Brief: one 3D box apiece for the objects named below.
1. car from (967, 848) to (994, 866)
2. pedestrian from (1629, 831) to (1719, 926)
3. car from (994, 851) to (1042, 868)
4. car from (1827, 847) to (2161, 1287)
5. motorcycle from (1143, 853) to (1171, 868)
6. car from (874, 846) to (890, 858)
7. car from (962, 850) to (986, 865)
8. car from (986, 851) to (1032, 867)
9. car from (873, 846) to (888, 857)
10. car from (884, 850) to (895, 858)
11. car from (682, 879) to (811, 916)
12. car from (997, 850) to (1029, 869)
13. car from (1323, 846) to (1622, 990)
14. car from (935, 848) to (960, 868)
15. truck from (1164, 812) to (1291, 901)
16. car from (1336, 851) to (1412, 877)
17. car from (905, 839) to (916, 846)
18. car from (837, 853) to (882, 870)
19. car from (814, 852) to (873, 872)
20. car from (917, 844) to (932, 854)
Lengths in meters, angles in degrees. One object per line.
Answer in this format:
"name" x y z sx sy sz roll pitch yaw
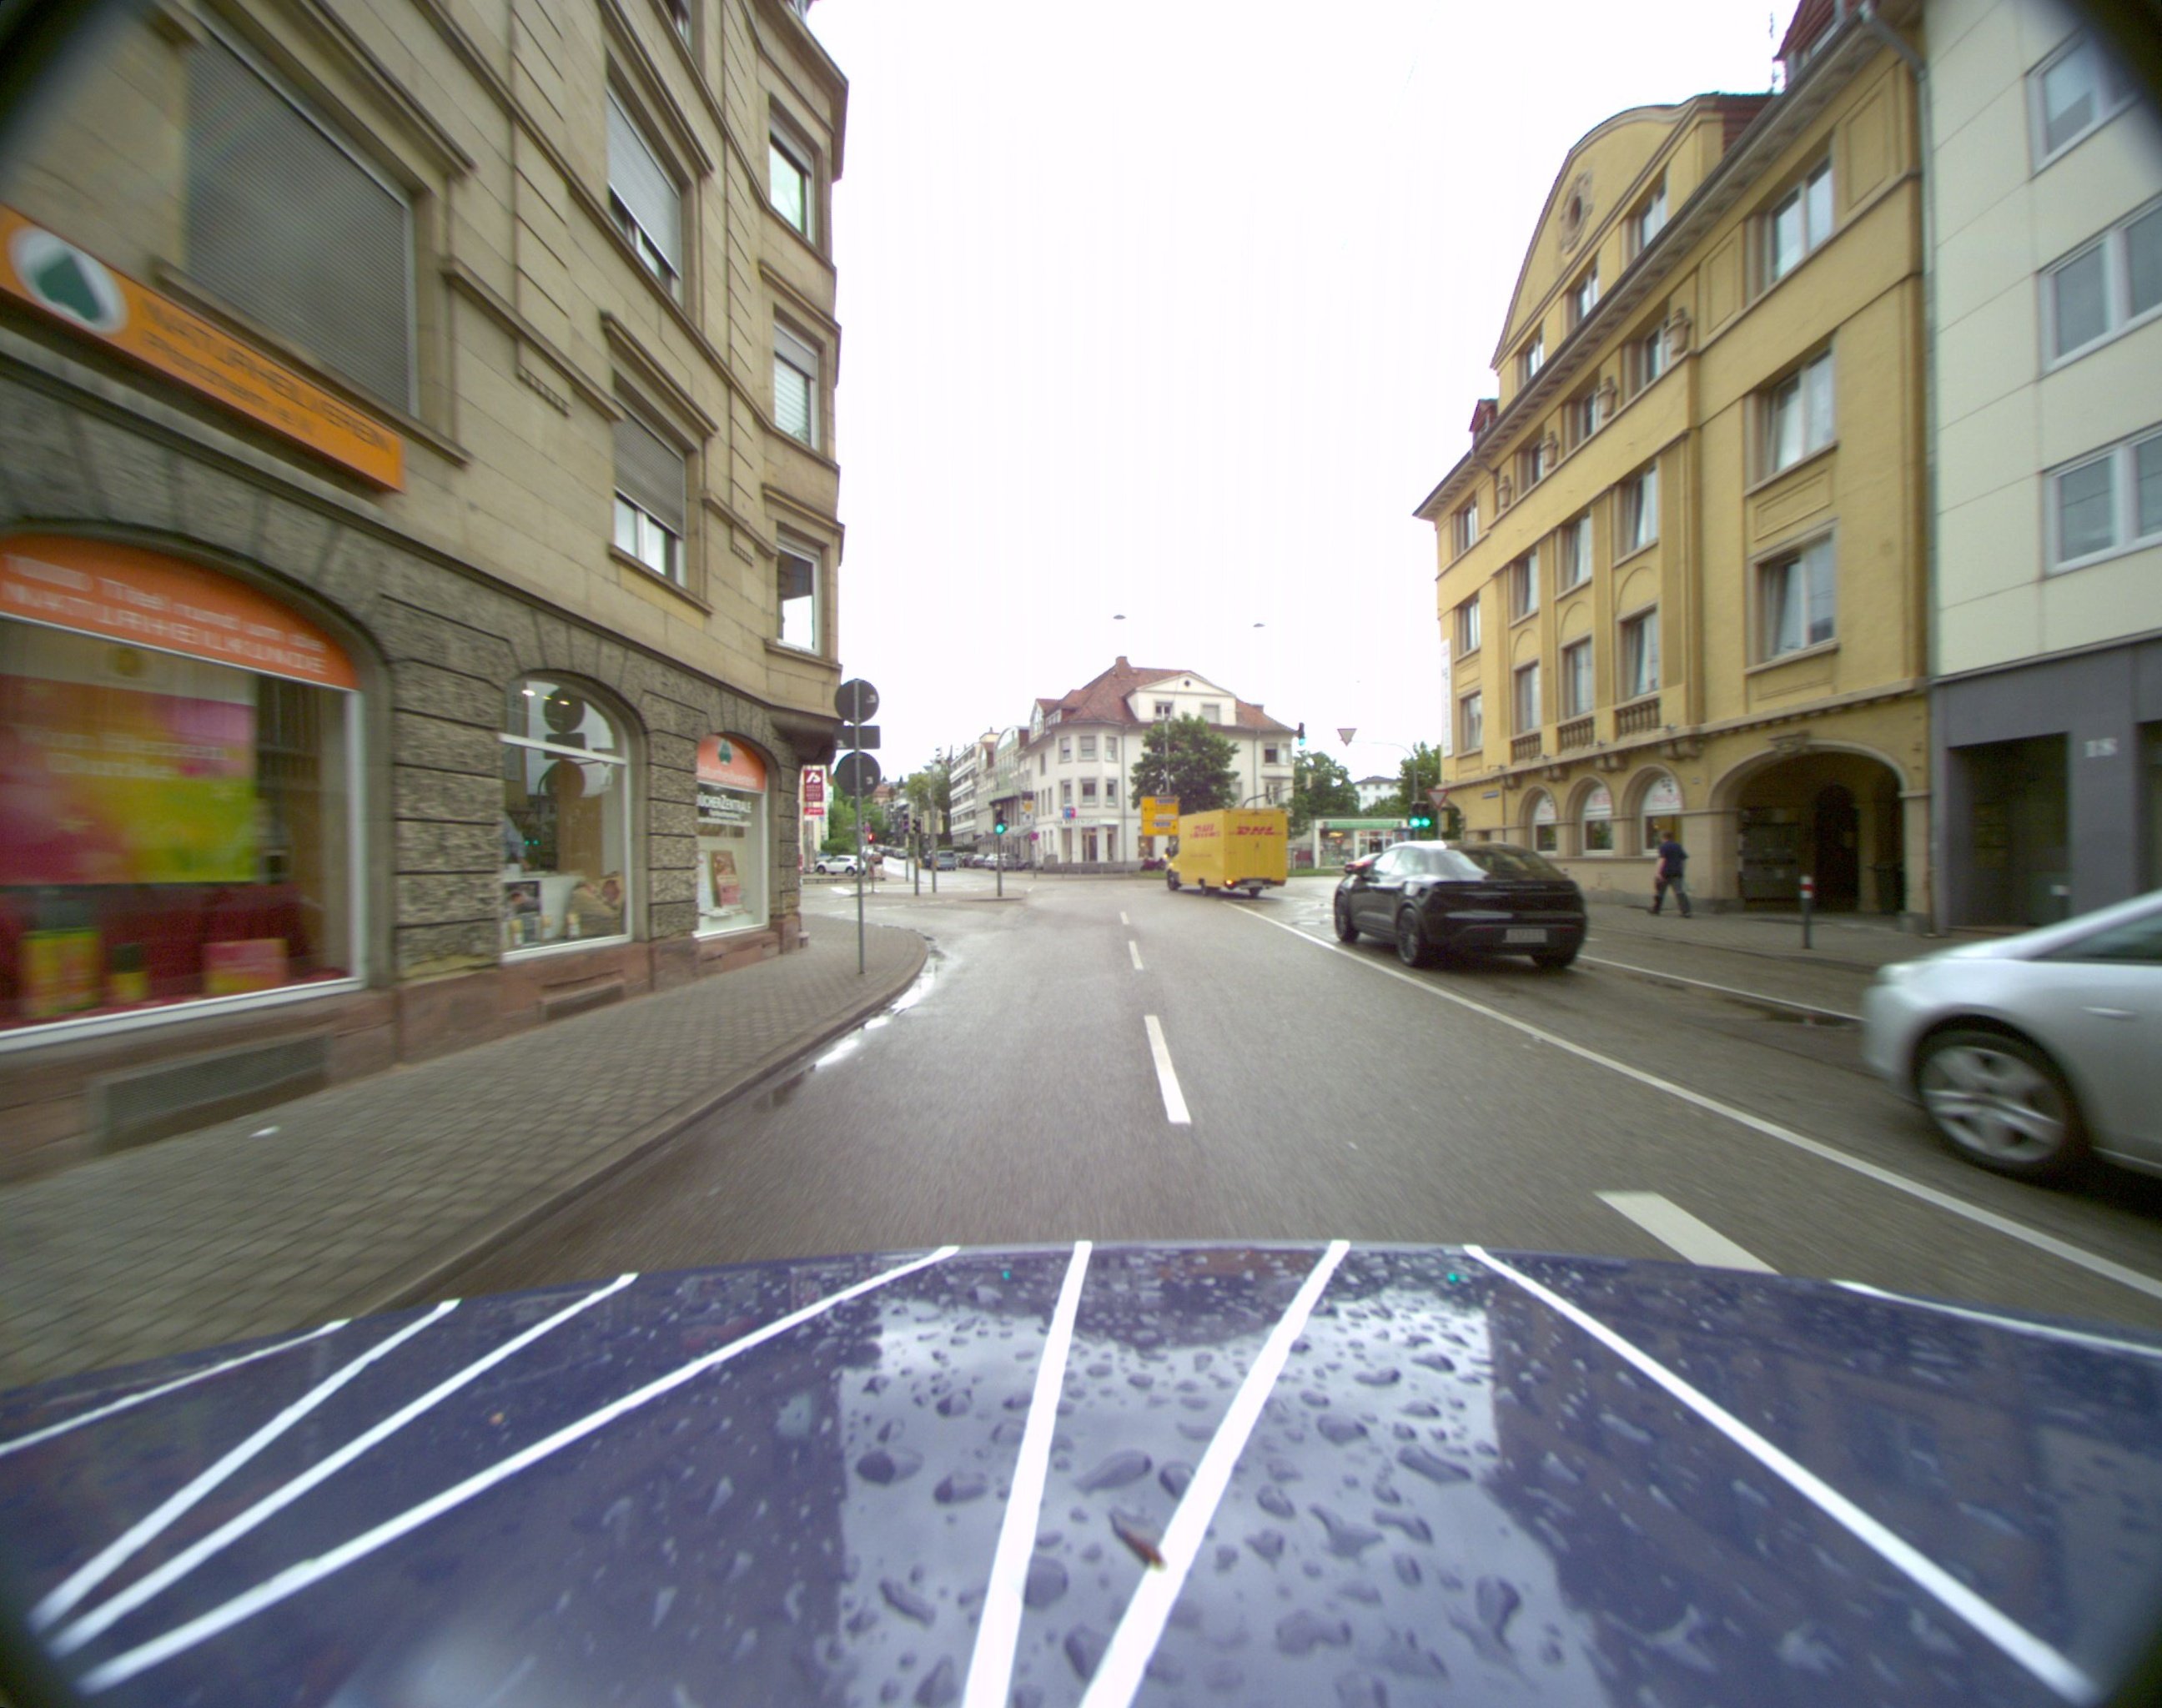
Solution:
"car" -10.210 0.277 77.035 2.001 1.576 3.993 -6 3 -17
"pedestrian" 11.733 0.469 15.071 0.895 1.761 1.032 -4 1 0
"car" -5.769 0.480 69.115 4.003 1.499 1.996 -1 1 -19
"car" 4.846 0.786 1.721 1.947 1.574 4.521 0 1 2
"motorcycle" 5.737 0.470 57.432 2.014 1.142 0.718 -1 1 -15
"car" -28.189 -0.335 107.398 2.001 1.576 4.651 -1 1 -17
"car" -11.658 0.325 82.391 2.001 1.576 3.993 -1 1 -17
"car" -6.765 0.456 71.342 4.003 1.499 1.996 -1 1 -19
"car" -29.767 -0.320 112.793 2.001 1.576 4.651 -1 1 -17
"car" -37.308 -0.068 148.010 2.001 1.576 4.651 -1 1 -17
"car" -13.920 1.786 31.781 4.526 1.409 1.933 0 1 0
"car" -5.861 0.450 64.870 2.001 1.499 3.994 -1 1 -16
"car" 5.043 0.690 10.685 1.947 1.574 4.605 0 1 2
"car" -13.341 0.331 75.979 2.001 1.904 3.993 -1 1 -17
"truck" 4.949 0.034 27.054 2.235 2.734 7.018 0 1 -9
"car" 18.308 0.617 47.507 4.041 1.509 2.021 -1 1 -16
"car" -36.909 -2.448 164.763 2.001 1.576 4.651 -1 1 -17
"car" -20.685 0.669 71.164 4.002 1.499 1.997 -1 1 -16
"car" -18.124 0.617 58.033 3.992 1.486 1.802 0 1 15
"car" -26.846 -0.866 130.098 2.001 1.576 4.651 -1 1 -17
